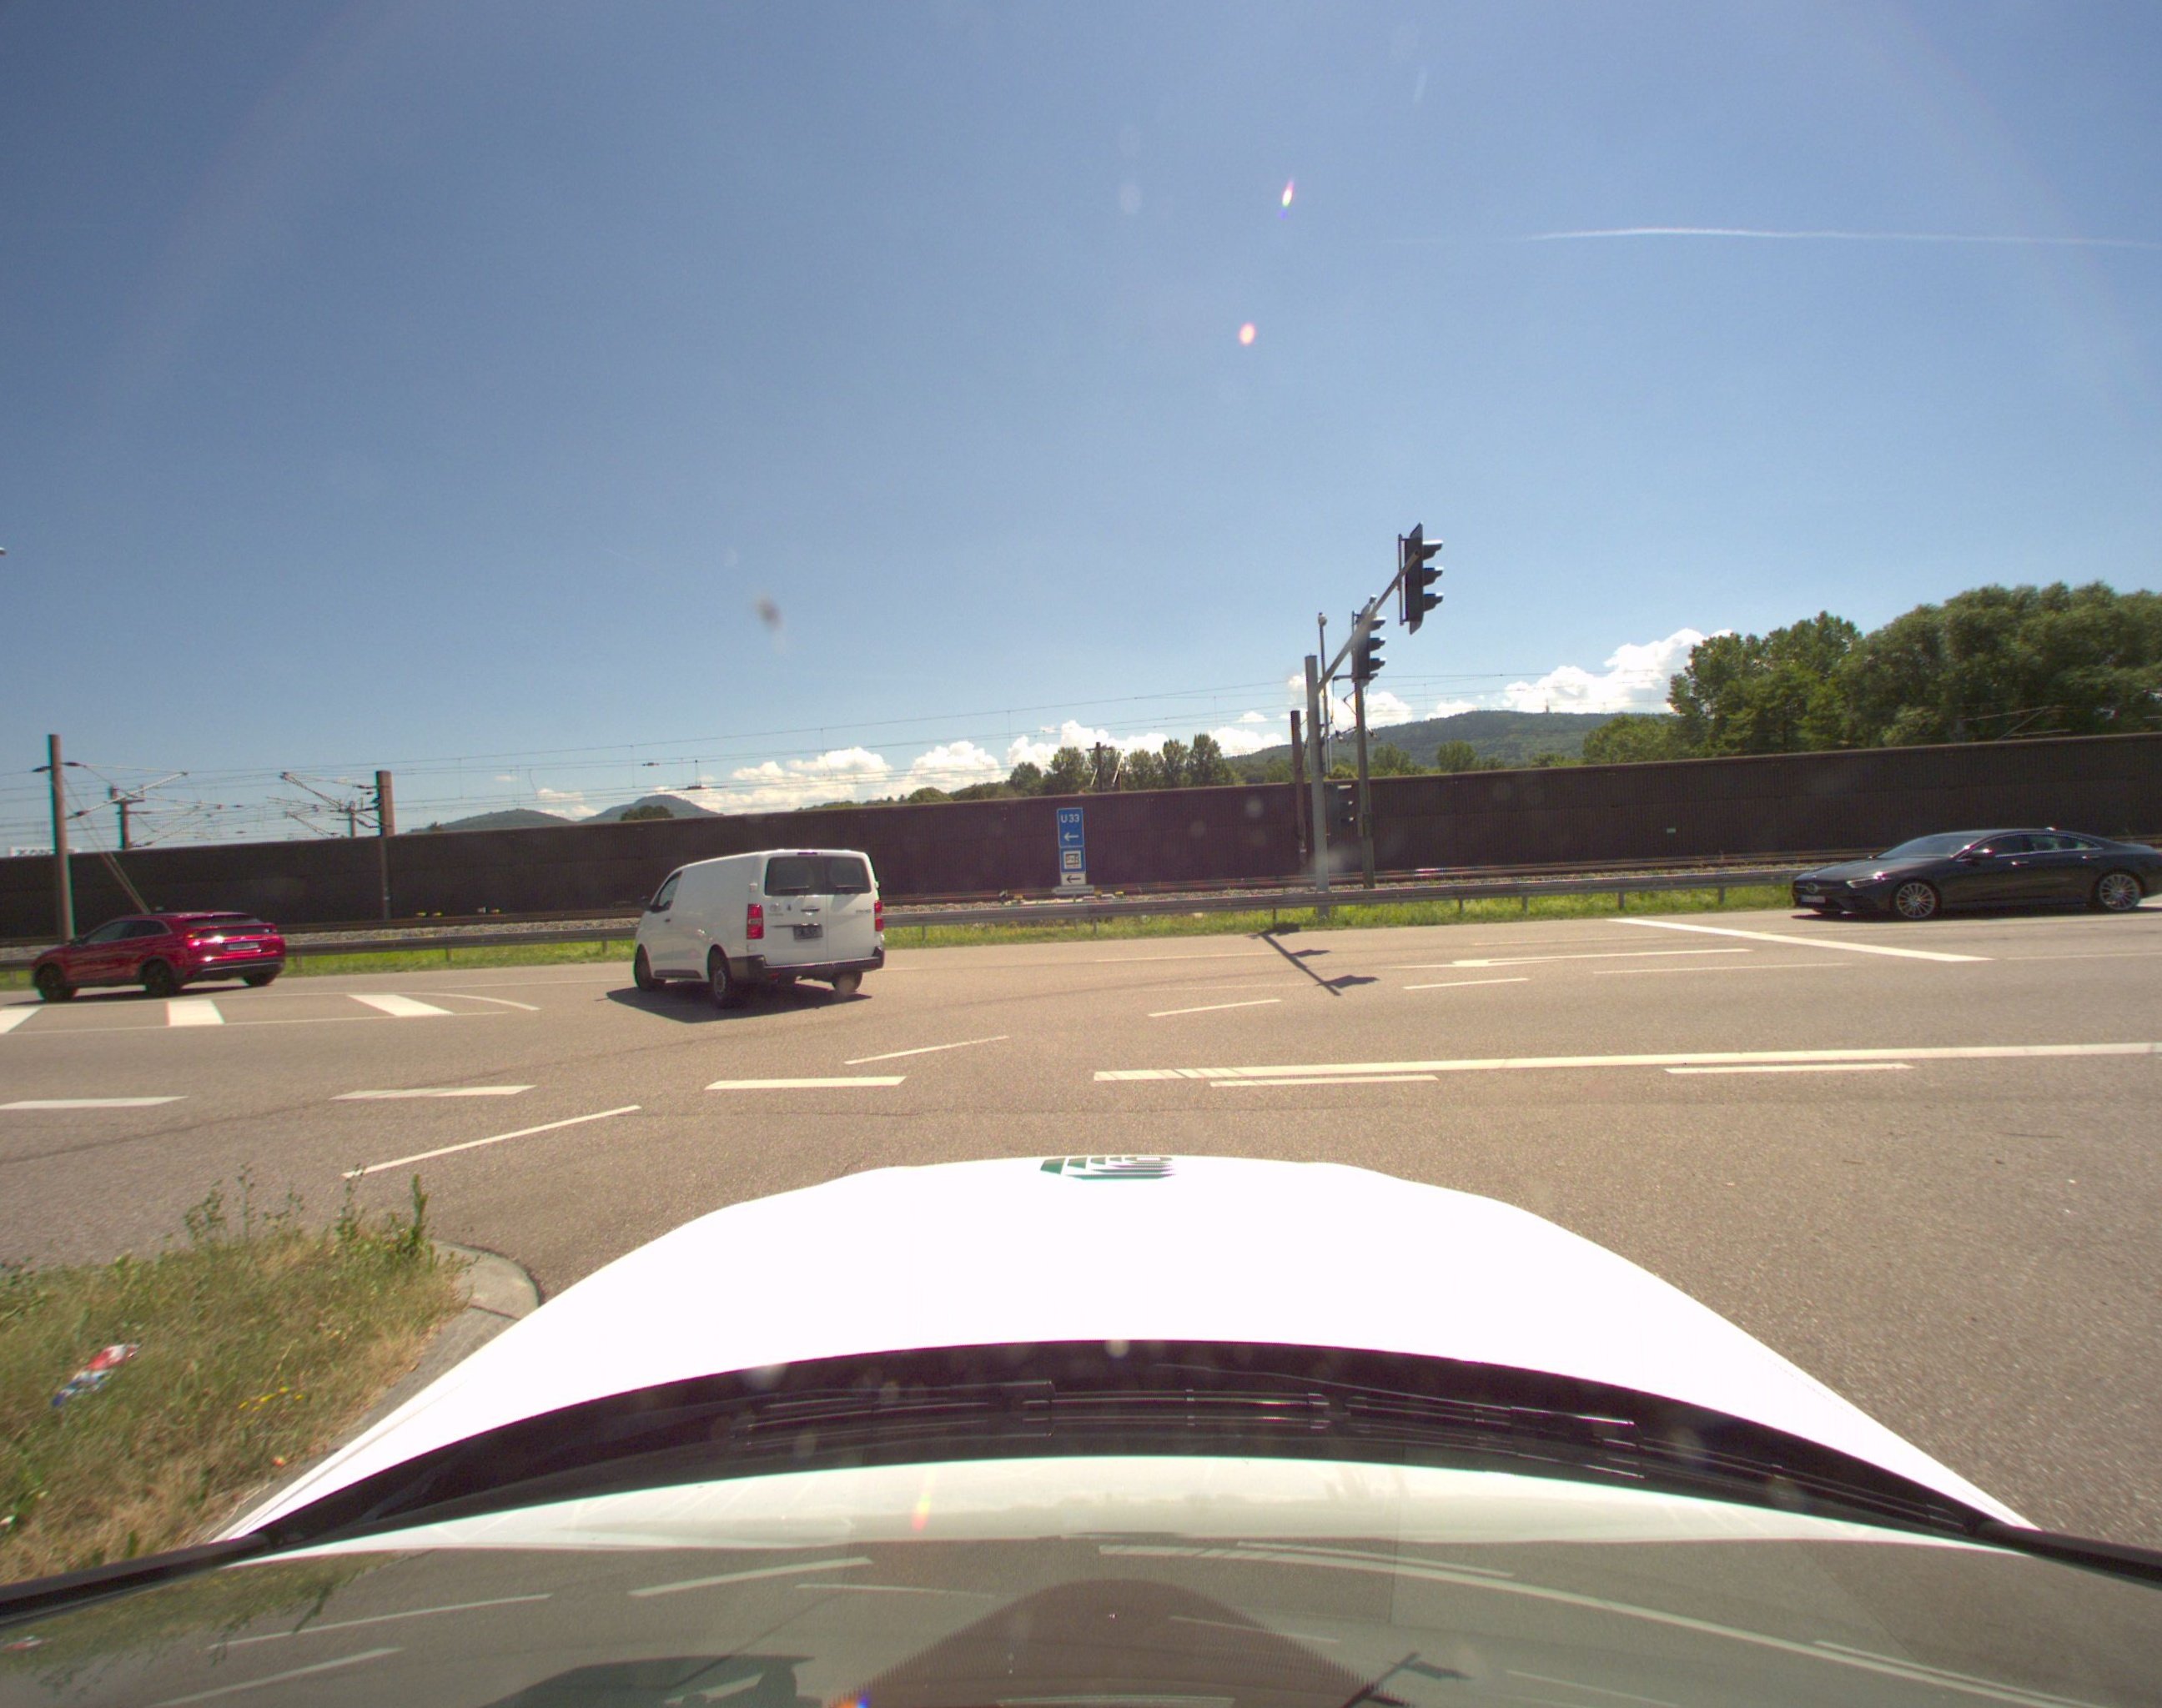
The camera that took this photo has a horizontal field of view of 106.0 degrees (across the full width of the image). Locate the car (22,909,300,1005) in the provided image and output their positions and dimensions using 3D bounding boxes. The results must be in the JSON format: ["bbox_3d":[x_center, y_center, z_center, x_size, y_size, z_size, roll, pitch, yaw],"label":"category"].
[{"bbox_3d":[-19.078,2.109,16.970,4.102,1.649,1.917,-3,-2,9],"label":"car"}]

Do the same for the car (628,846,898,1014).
[{"bbox_3d":[-4.744,0.995,11.655,1.963,1.882,4.821,-1,-3,-42],"label":"car"}]

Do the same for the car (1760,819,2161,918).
[{"bbox_3d":[14.875,0.264,13.990,4.609,1.364,1.916,-3,-2,6],"label":"car"}]
